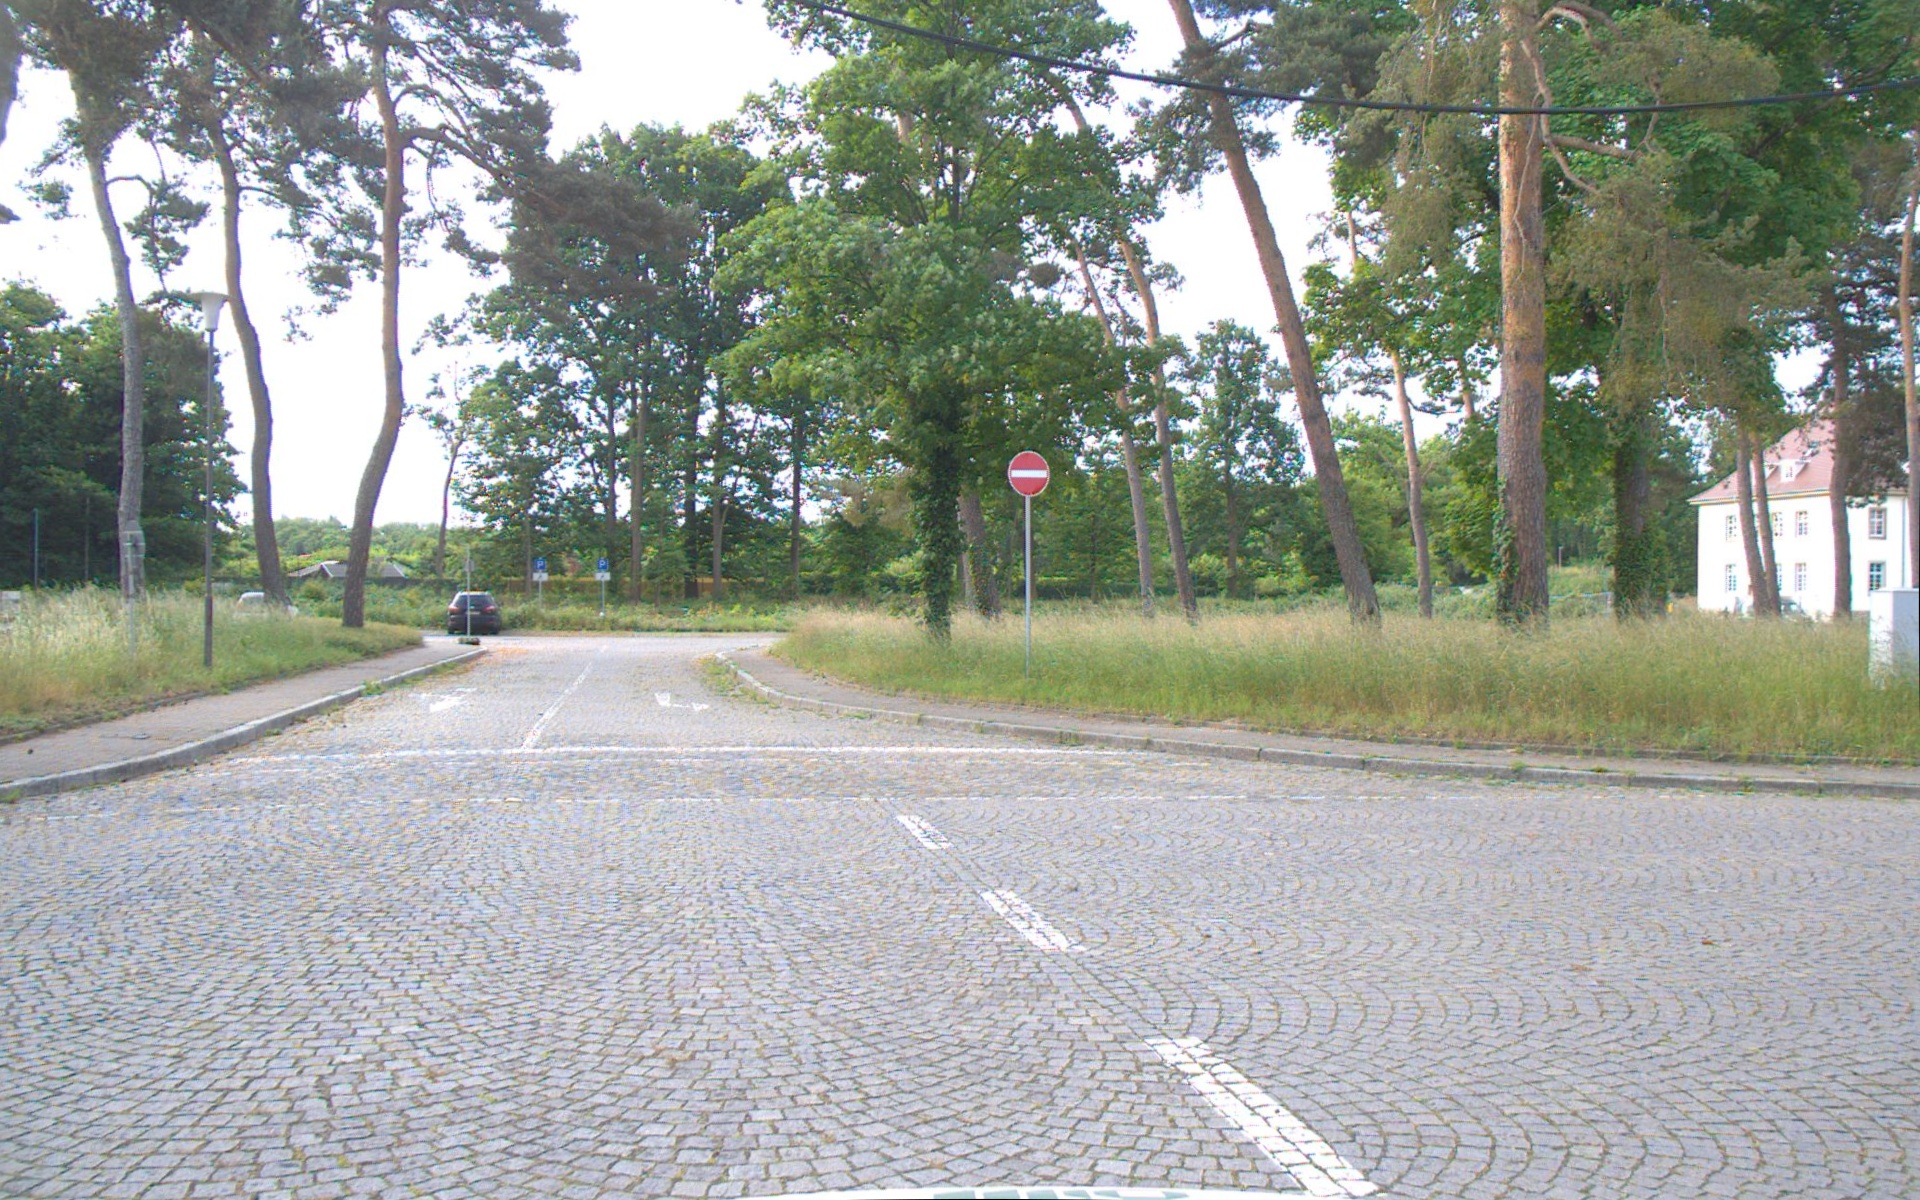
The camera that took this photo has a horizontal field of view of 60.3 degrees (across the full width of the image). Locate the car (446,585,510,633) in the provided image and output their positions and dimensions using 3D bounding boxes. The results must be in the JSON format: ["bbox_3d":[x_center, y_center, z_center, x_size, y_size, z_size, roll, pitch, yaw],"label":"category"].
[{"bbox_3d":[-17.874,0.314,61.496,1.679,1.638,4.050,2,0,-9],"label":"car"}]

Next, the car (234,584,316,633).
[{"bbox_3d":[-25.100,0.284,60.710,1.678,1.638,4.052,2,0,-7],"label":"car"}]
